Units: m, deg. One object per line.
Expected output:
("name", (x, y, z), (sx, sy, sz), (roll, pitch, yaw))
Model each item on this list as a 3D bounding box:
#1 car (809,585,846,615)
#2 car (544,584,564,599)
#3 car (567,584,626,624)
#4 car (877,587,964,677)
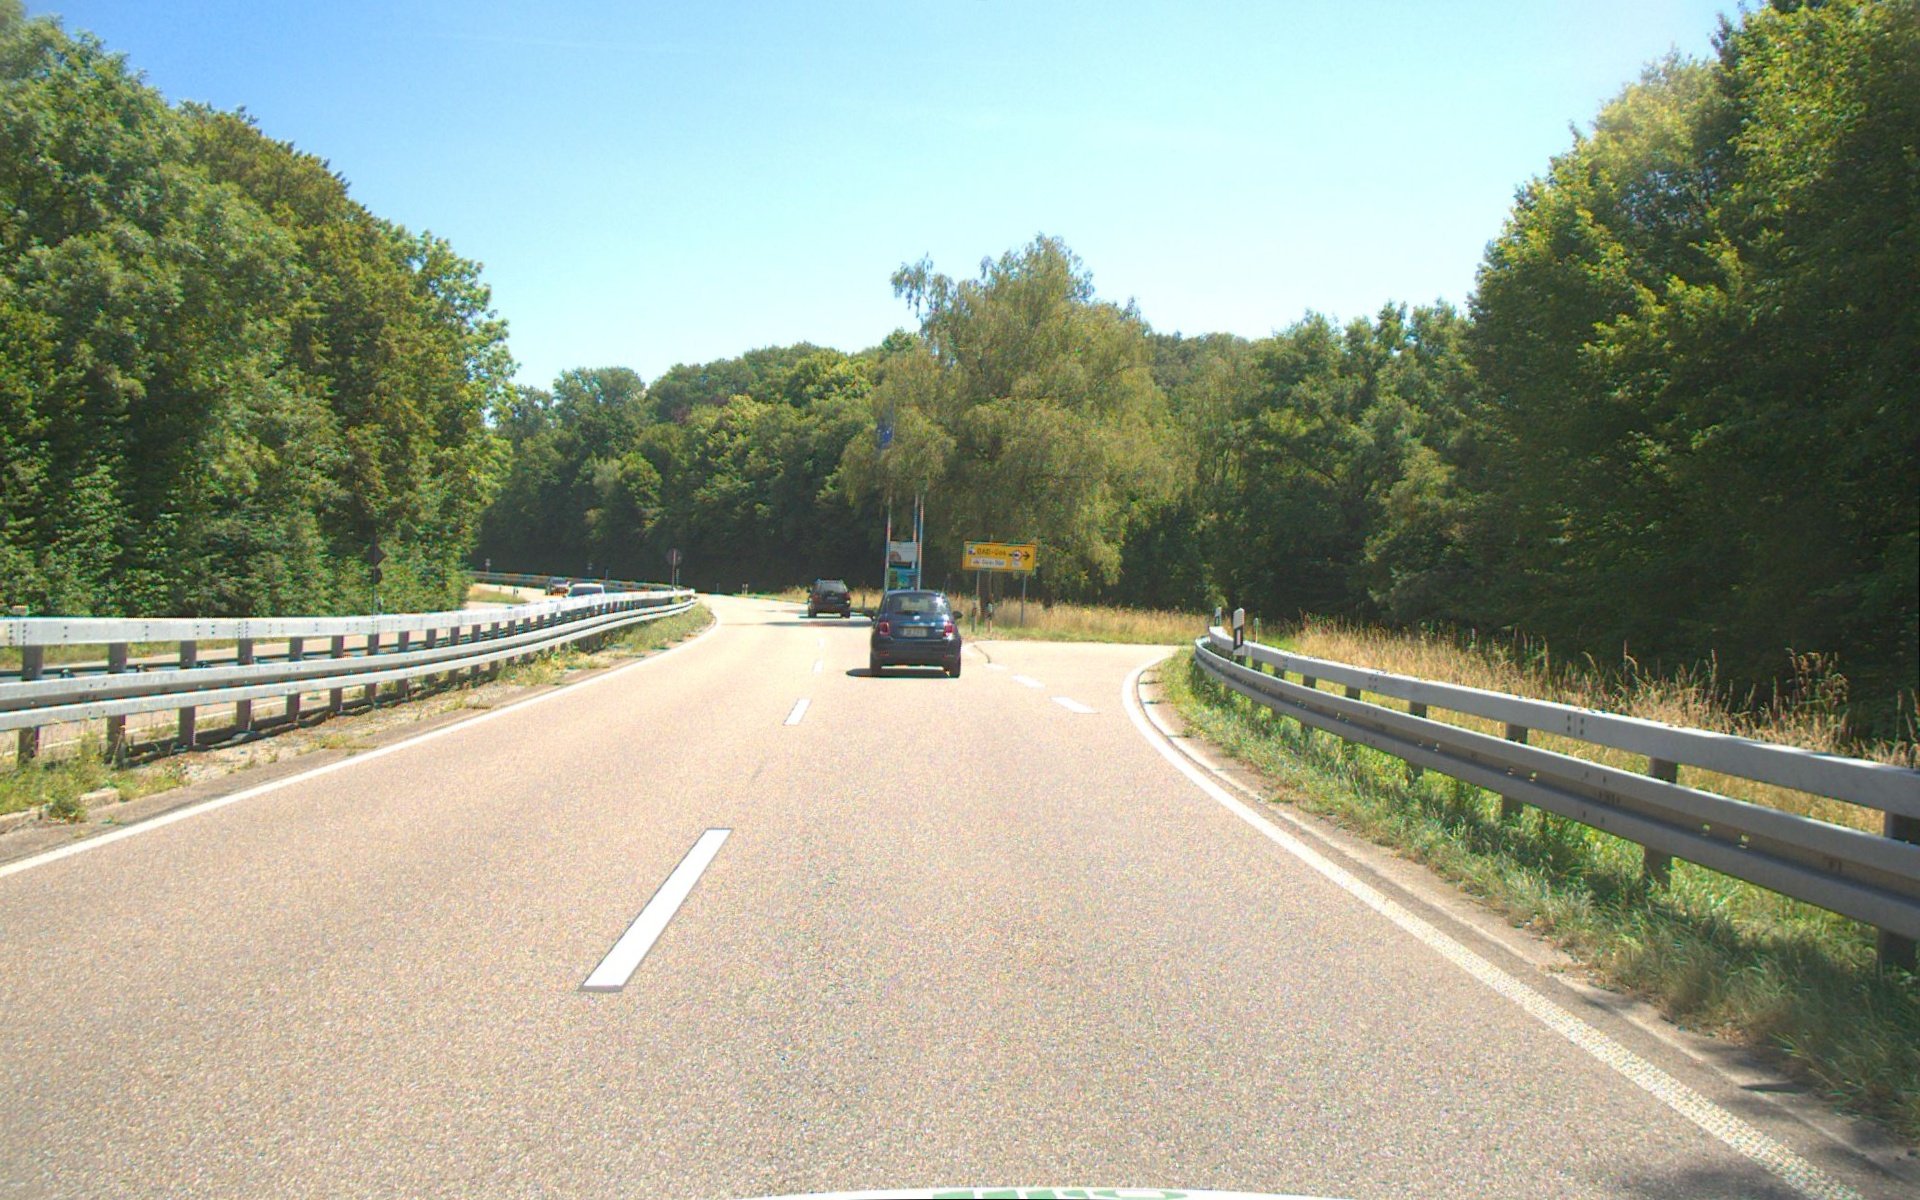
("car", (-6.061, -0.014, 75.492), (1.496, 1.336, 3.409), (0, 0, -7))
("car", (-37.795, -0.816, 153.859), (1.419, 1.405, 3.827), (0, 0, -19))
("car", (-15.084, 0.161, 68.824), (1.721, 1.600, 4.411), (0, 0, -3))
("car", (-0.687, 0.529, 29.951), (1.482, 1.527, 3.590), (0, 0, 0))
